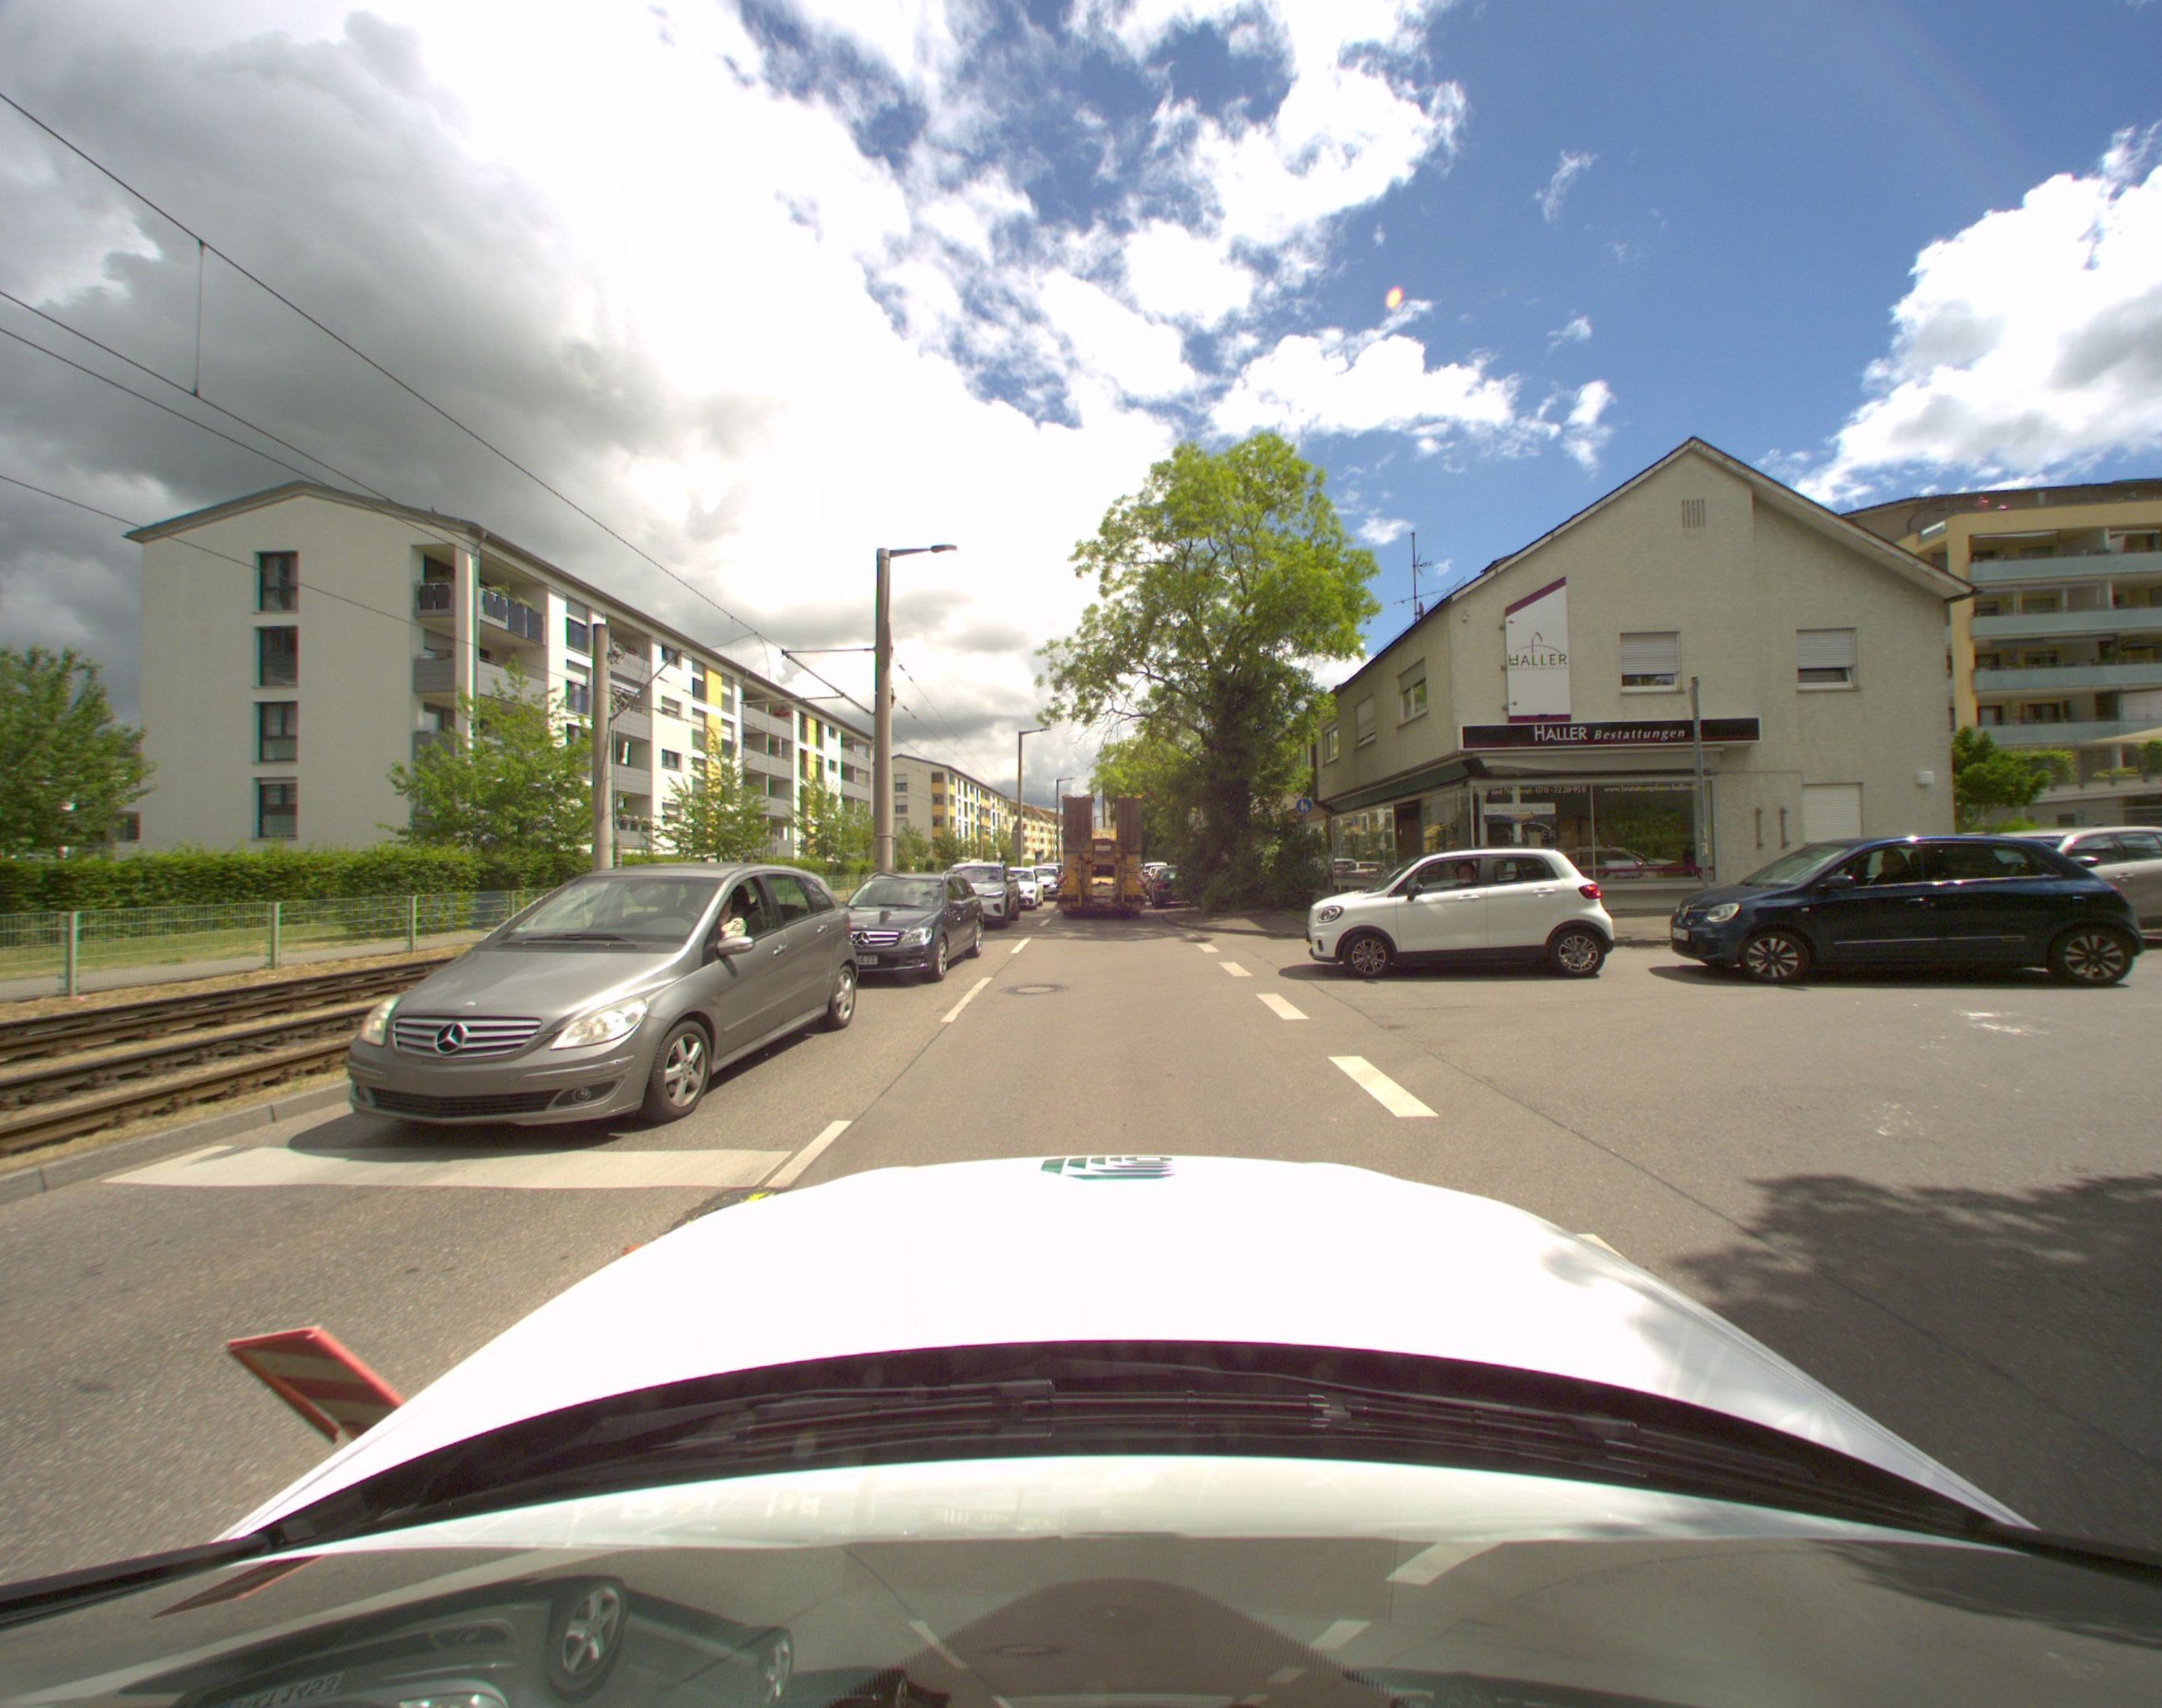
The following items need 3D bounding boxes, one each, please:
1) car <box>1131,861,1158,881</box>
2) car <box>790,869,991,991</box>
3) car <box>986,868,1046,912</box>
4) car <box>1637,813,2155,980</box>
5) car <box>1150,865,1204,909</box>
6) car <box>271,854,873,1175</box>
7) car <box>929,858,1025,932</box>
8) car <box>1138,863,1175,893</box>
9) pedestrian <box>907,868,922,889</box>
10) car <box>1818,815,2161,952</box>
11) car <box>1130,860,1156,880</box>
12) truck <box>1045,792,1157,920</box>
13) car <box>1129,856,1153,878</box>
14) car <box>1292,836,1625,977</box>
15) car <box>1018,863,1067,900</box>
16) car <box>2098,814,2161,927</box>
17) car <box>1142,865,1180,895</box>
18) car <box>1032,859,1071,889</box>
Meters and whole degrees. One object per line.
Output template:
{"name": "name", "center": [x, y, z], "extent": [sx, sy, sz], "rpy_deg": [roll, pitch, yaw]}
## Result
{"name": "car", "center": [4.712, 1.239, 59.816], "extent": [1.762, 1.349, 4.007], "rpy_deg": [-3, -1, 6]}
{"name": "car", "center": [-2.627, 0.990, 12.382], "extent": [1.803, 1.445, 4.468], "rpy_deg": [-1, -1, 3]}
{"name": "car", "center": [-2.244, 1.241, 29.056], "extent": [1.740, 1.406, 3.940], "rpy_deg": [-1, -1, 1]}
{"name": "car", "center": [8.672, 0.486, 9.129], "extent": [3.607, 1.571, 1.850], "rpy_deg": [-3, -1, 18]}
{"name": "car", "center": [3.467, 1.170, 29.934], "extent": [1.805, 1.463, 4.045], "rpy_deg": [-1, -1, 4]}
{"name": "car", "center": [-3.218, 0.856, 6.349], "extent": [1.849, 1.660, 4.180], "rpy_deg": [-1, -1, 4]}
{"name": "car", "center": [-2.561, 0.961, 21.096], "extent": [1.851, 1.690, 4.434], "rpy_deg": [-1, -1, 1]}
{"name": "car", "center": [4.302, 1.344, 46.993], "extent": [1.830, 1.643, 4.431], "rpy_deg": [0, -1, 2]}
{"name": "pedestrian", "center": [-11.664, 1.717, 56.979], "extent": [0.793, 1.483, 0.996], "rpy_deg": [0, -1, 2]}
{"name": "car", "center": [12.514, 0.328, 10.819], "extent": [3.917, 1.519, 1.800], "rpy_deg": [-3, 0, -4]}
{"name": "car", "center": [4.936, 1.241, 65.237], "extent": [1.765, 1.442, 3.900], "rpy_deg": [-3, -1, 1]}
{"name": "truck", "center": [0.785, 0.100, 29.021], "extent": [3.112, 3.564, 12.465], "rpy_deg": [0, 0, 2]}
{"name": "car", "center": [5.284, 1.117, 71.847], "extent": [2.006, 1.788, 5.081], "rpy_deg": [-2, -1, 4]}
{"name": "car", "center": [4.676, 0.672, 10.671], "extent": [3.611, 1.571, 1.849], "rpy_deg": [-3, -1, 13]}
{"name": "car", "center": [-1.670, 1.179, 36.783], "extent": [1.810, 1.502, 4.838], "rpy_deg": [1, 0, 2]}
{"name": "car", "center": [16.946, 0.103, 11.026], "extent": [3.898, 1.572, 1.911], "rpy_deg": [-3, -3, -1]}
{"name": "car", "center": [4.063, 1.307, 41.915], "extent": [1.717, 1.426, 4.449], "rpy_deg": [-1, -1, 3]}
{"name": "car", "center": [-1.606, 1.093, 46.169], "extent": [1.810, 1.614, 4.604], "rpy_deg": [1, 0, 2]}
